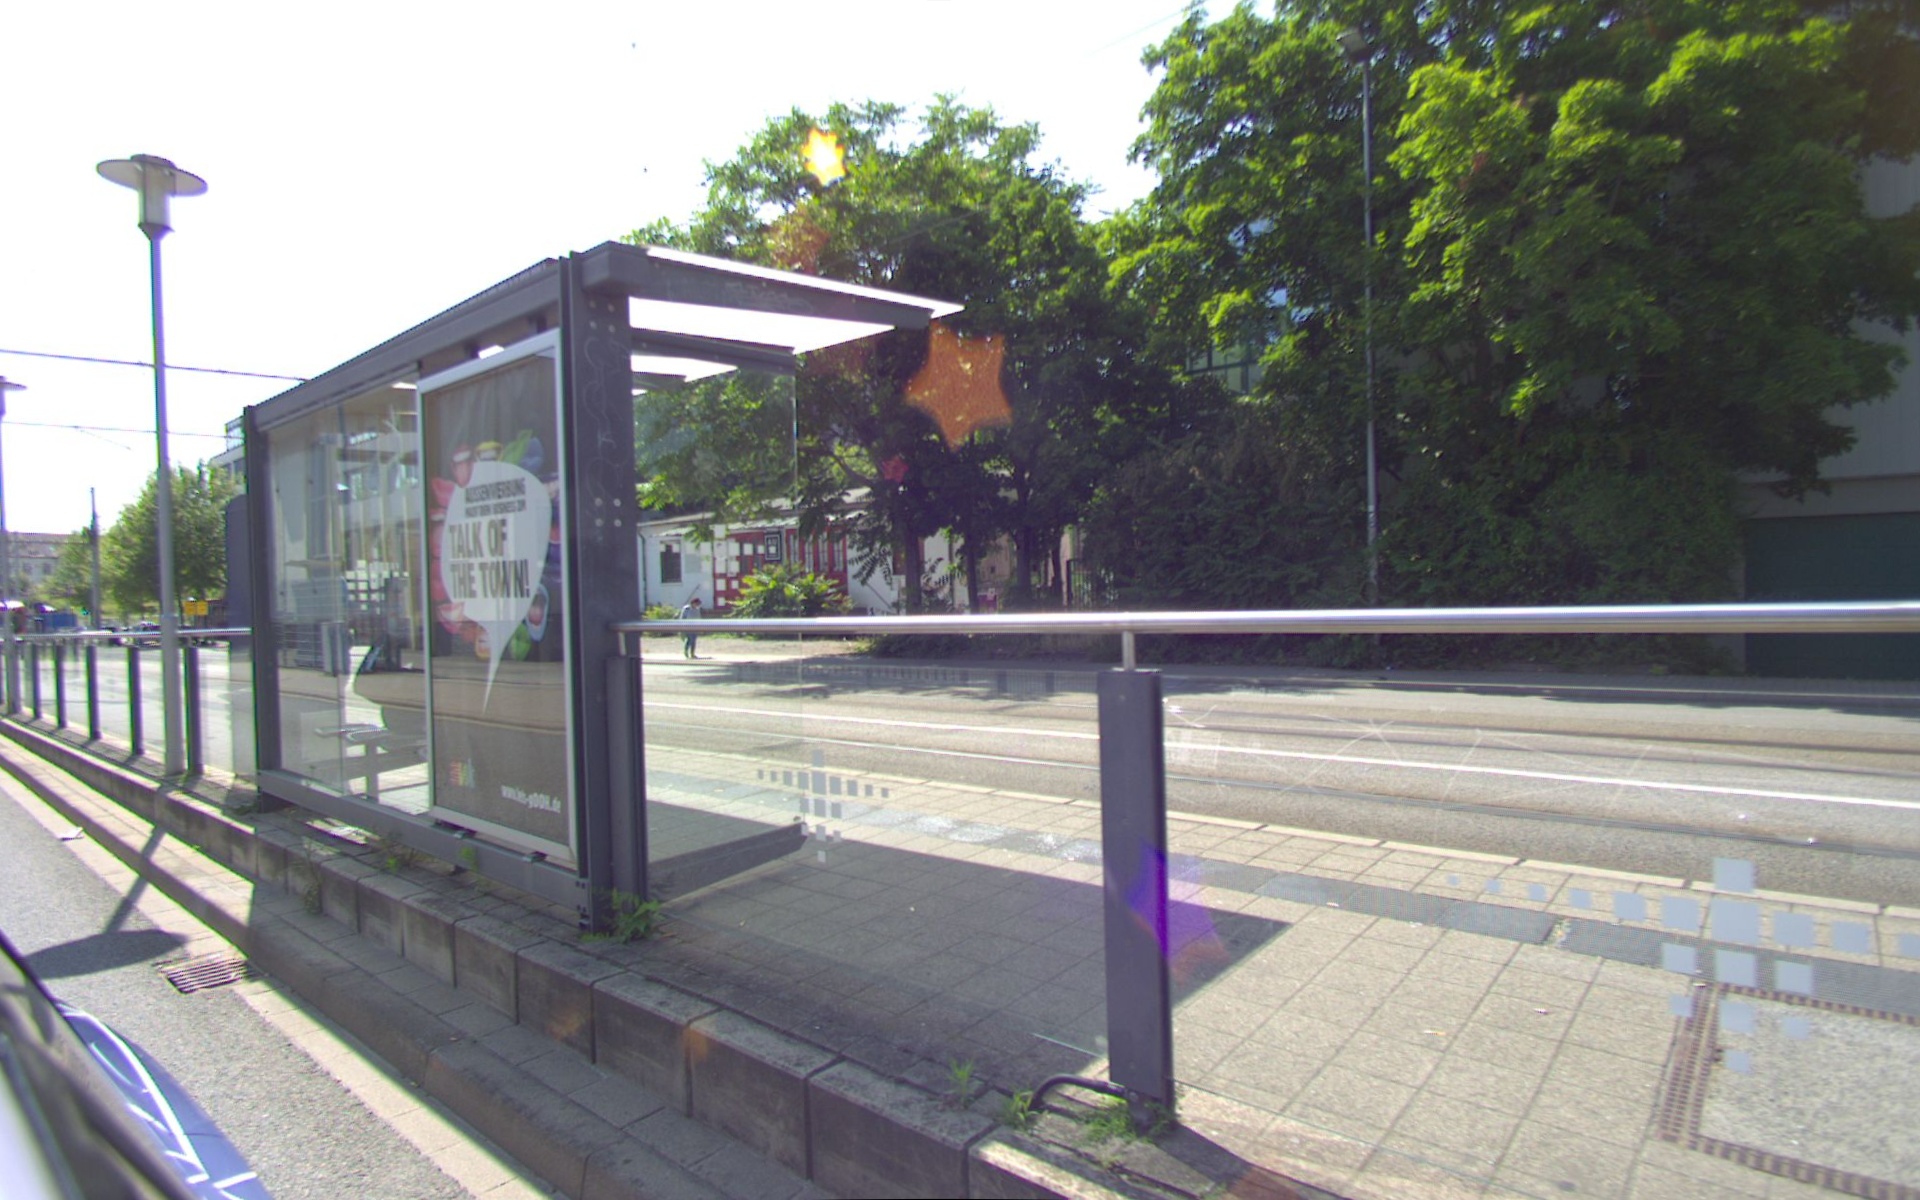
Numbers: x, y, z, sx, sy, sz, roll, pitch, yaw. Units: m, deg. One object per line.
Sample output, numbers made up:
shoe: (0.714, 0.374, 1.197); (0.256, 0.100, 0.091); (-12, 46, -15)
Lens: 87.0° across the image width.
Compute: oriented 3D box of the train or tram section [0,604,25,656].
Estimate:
train or tram section: (-69.350, 2.209, 72.072); (12.320, 3.511, 2.646); (-2, 0, 41)

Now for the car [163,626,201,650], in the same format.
car: (-57.346, 2.768, 74.570); (1.969, 1.635, 4.005); (-1, -1, -42)

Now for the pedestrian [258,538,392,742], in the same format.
pedestrian: (-5.753, 0.342, 9.165); (0.944, 1.737, 0.716); (-3, 1, 41)

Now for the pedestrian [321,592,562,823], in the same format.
pedestrian: (-2.859, 0.542, 5.608); (0.726, 1.107, 0.933); (-3, 1, 40)

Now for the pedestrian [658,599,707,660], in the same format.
pedestrian: (-7.228, 0.762, 26.350); (0.845, 1.538, 0.862); (-2, 0, 40)

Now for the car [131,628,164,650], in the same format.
car: (-63.443, 3.007, 78.995); (1.844, 1.630, 4.005); (-1, -1, -42)
